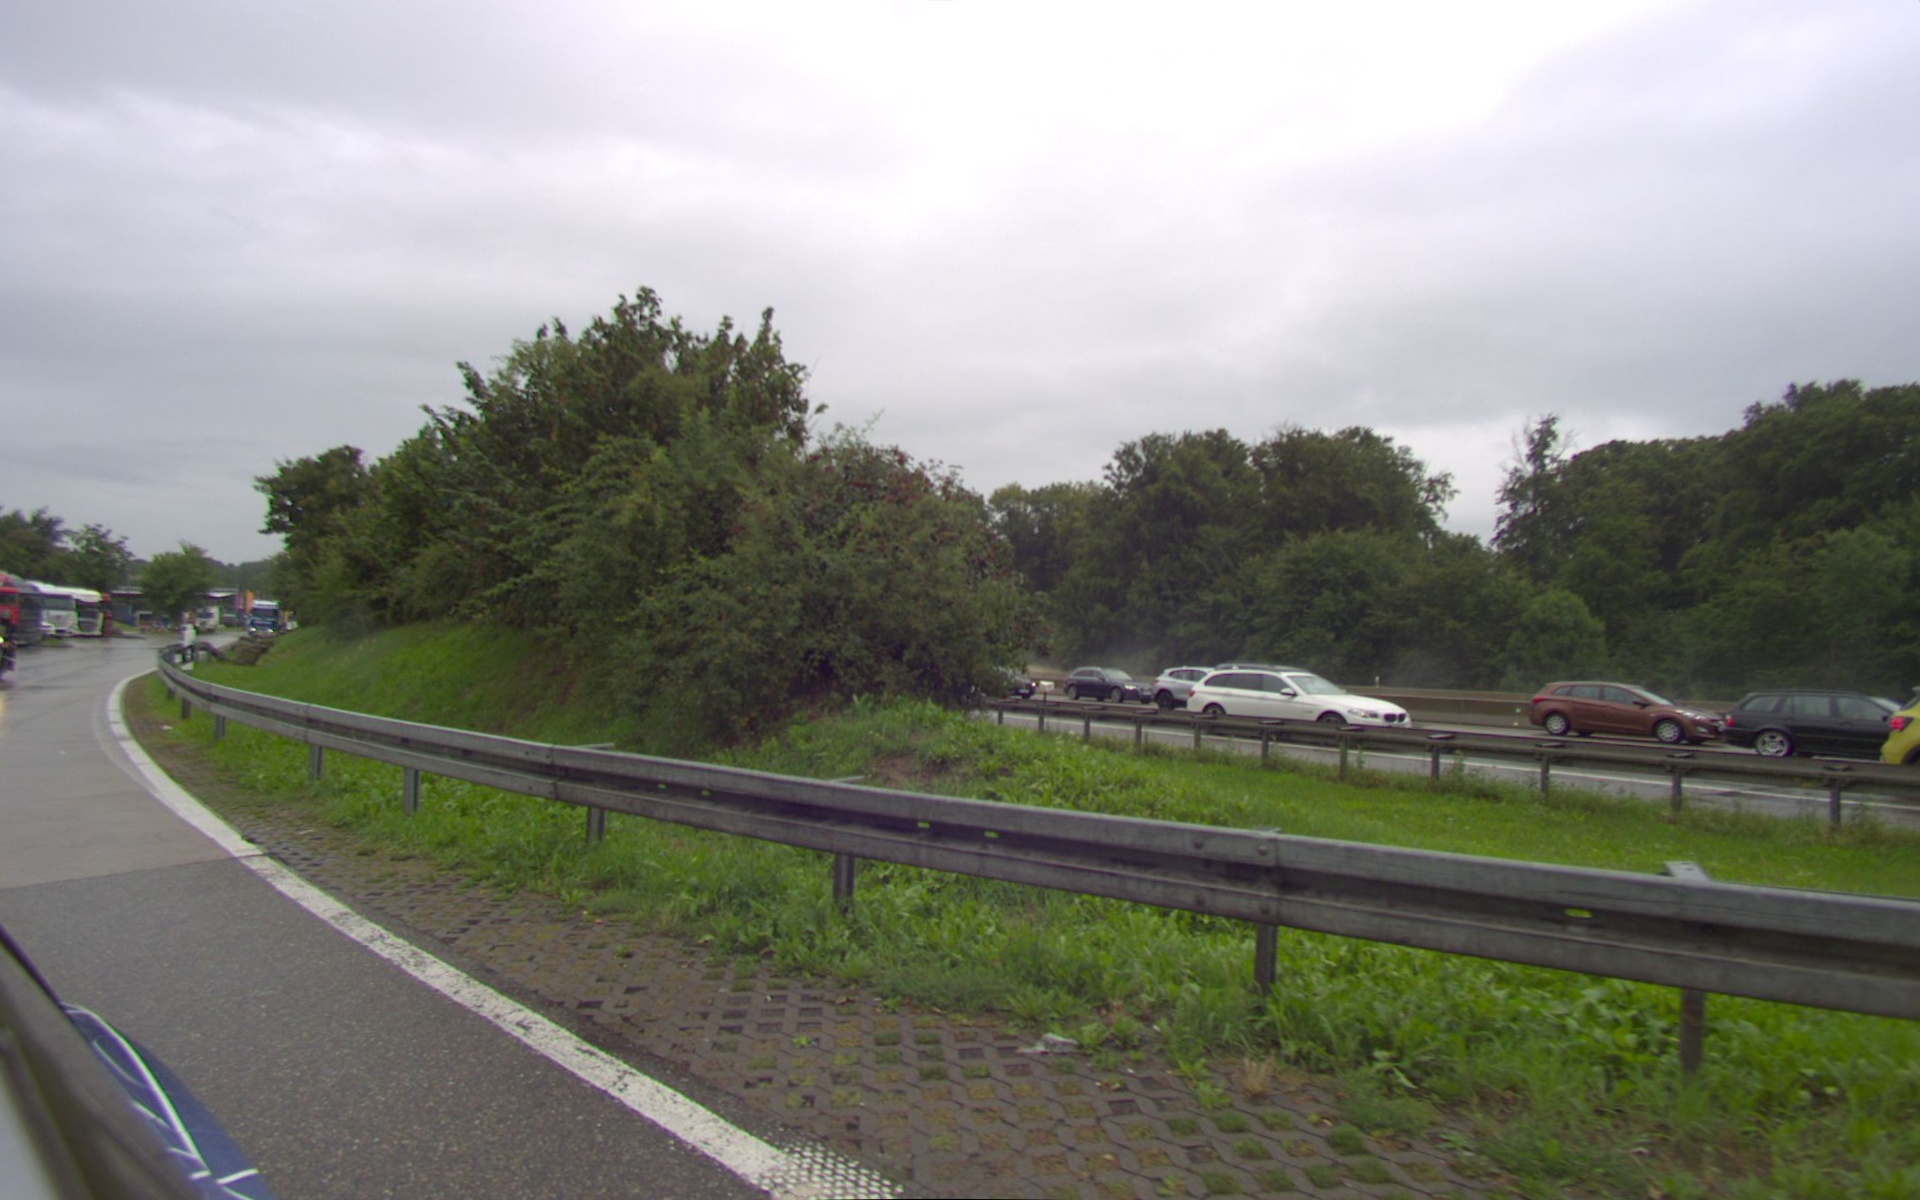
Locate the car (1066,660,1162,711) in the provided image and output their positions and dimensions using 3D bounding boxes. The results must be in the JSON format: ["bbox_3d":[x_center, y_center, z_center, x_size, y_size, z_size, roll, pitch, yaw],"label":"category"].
[{"bbox_3d":[6.409,3.553,42.529,1.743,1.811,4.011,0,-1,-33],"label":"car"}]

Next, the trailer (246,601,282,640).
[{"bbox_3d":[-83.202,2.478,121.161,3.191,4.420,13.802,3,-3,-33],"label":"trailer"}]

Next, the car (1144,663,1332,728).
[{"bbox_3d":[7.387,2.520,27.370,1.902,1.534,4.773,4,-4,-36],"label":"car"}]

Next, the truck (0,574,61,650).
[{"bbox_3d":[-52.986,0.607,54.700,6.481,3.949,2.892,1,-3,9],"label":"truck"}]

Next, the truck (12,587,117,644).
[{"bbox_3d":[-72.161,1.247,81.618,5.747,4.420,3.237,1,-2,8],"label":"truck"}]

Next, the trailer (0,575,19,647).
[{"bbox_3d":[-59.269,0.387,55.662,13.776,3.949,2.868,2,-3,9],"label":"trailer"}]

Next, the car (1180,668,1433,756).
[{"bbox_3d":[7.077,2.247,21.169,1.902,1.534,4.773,4,-4,-36],"label":"car"}]

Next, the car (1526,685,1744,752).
[{"bbox_3d":[17.415,3.015,26.327,1.683,1.405,4.388,3,-3,-34],"label":"car"}]

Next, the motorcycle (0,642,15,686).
[{"bbox_3d":[-23.837,1.553,24.840,0.865,1.030,2.354,5,-5,-43],"label":"motorcycle"}]

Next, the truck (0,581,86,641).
[{"bbox_3d":[-68.480,0.785,73.335,7.847,4.122,3.237,2,-3,9],"label":"truck"}]

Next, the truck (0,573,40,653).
[{"bbox_3d":[-50.035,0.563,50.712,4.964,3.949,3.237,1,-3,8],"label":"truck"}]

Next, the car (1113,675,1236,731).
[{"bbox_3d":[7.103,3.391,33.834,1.680,1.652,4.011,3,-4,-32],"label":"car"}]

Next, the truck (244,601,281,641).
[{"bbox_3d":[-79.601,2.413,115.661,3.191,4.420,6.331,3,-3,-33],"label":"truck"}]

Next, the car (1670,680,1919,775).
[{"bbox_3d":[16.966,2.431,19.873,1.967,1.542,4.550,3,-3,-35],"label":"car"}]

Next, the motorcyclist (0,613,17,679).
[{"bbox_3d":[-23.781,1.127,24.817,0.865,1.580,1.374,5,-5,-44],"label":"motorcyclist"}]

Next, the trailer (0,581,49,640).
[{"bbox_3d":[-74.376,0.647,74.253,13.378,4.122,3.237,2,-3,9],"label":"trailer"}]

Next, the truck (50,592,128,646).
[{"bbox_3d":[-74.538,1.636,86.641,4.575,4.420,2.600,1,-2,8],"label":"truck"}]

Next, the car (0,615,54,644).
[{"bbox_3d":[-64.160,2.009,68.703,3.957,1.872,1.842,1,-2,11],"label":"car"}]

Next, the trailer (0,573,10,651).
[{"bbox_3d":[-56.629,0.356,51.735,14.661,3.949,3.237,2,-3,9],"label":"trailer"}]

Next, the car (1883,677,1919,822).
[{"bbox_3d":[13.899,1.878,11.865,1.770,1.807,4.249,3,-4,-36],"label":"car"}]
